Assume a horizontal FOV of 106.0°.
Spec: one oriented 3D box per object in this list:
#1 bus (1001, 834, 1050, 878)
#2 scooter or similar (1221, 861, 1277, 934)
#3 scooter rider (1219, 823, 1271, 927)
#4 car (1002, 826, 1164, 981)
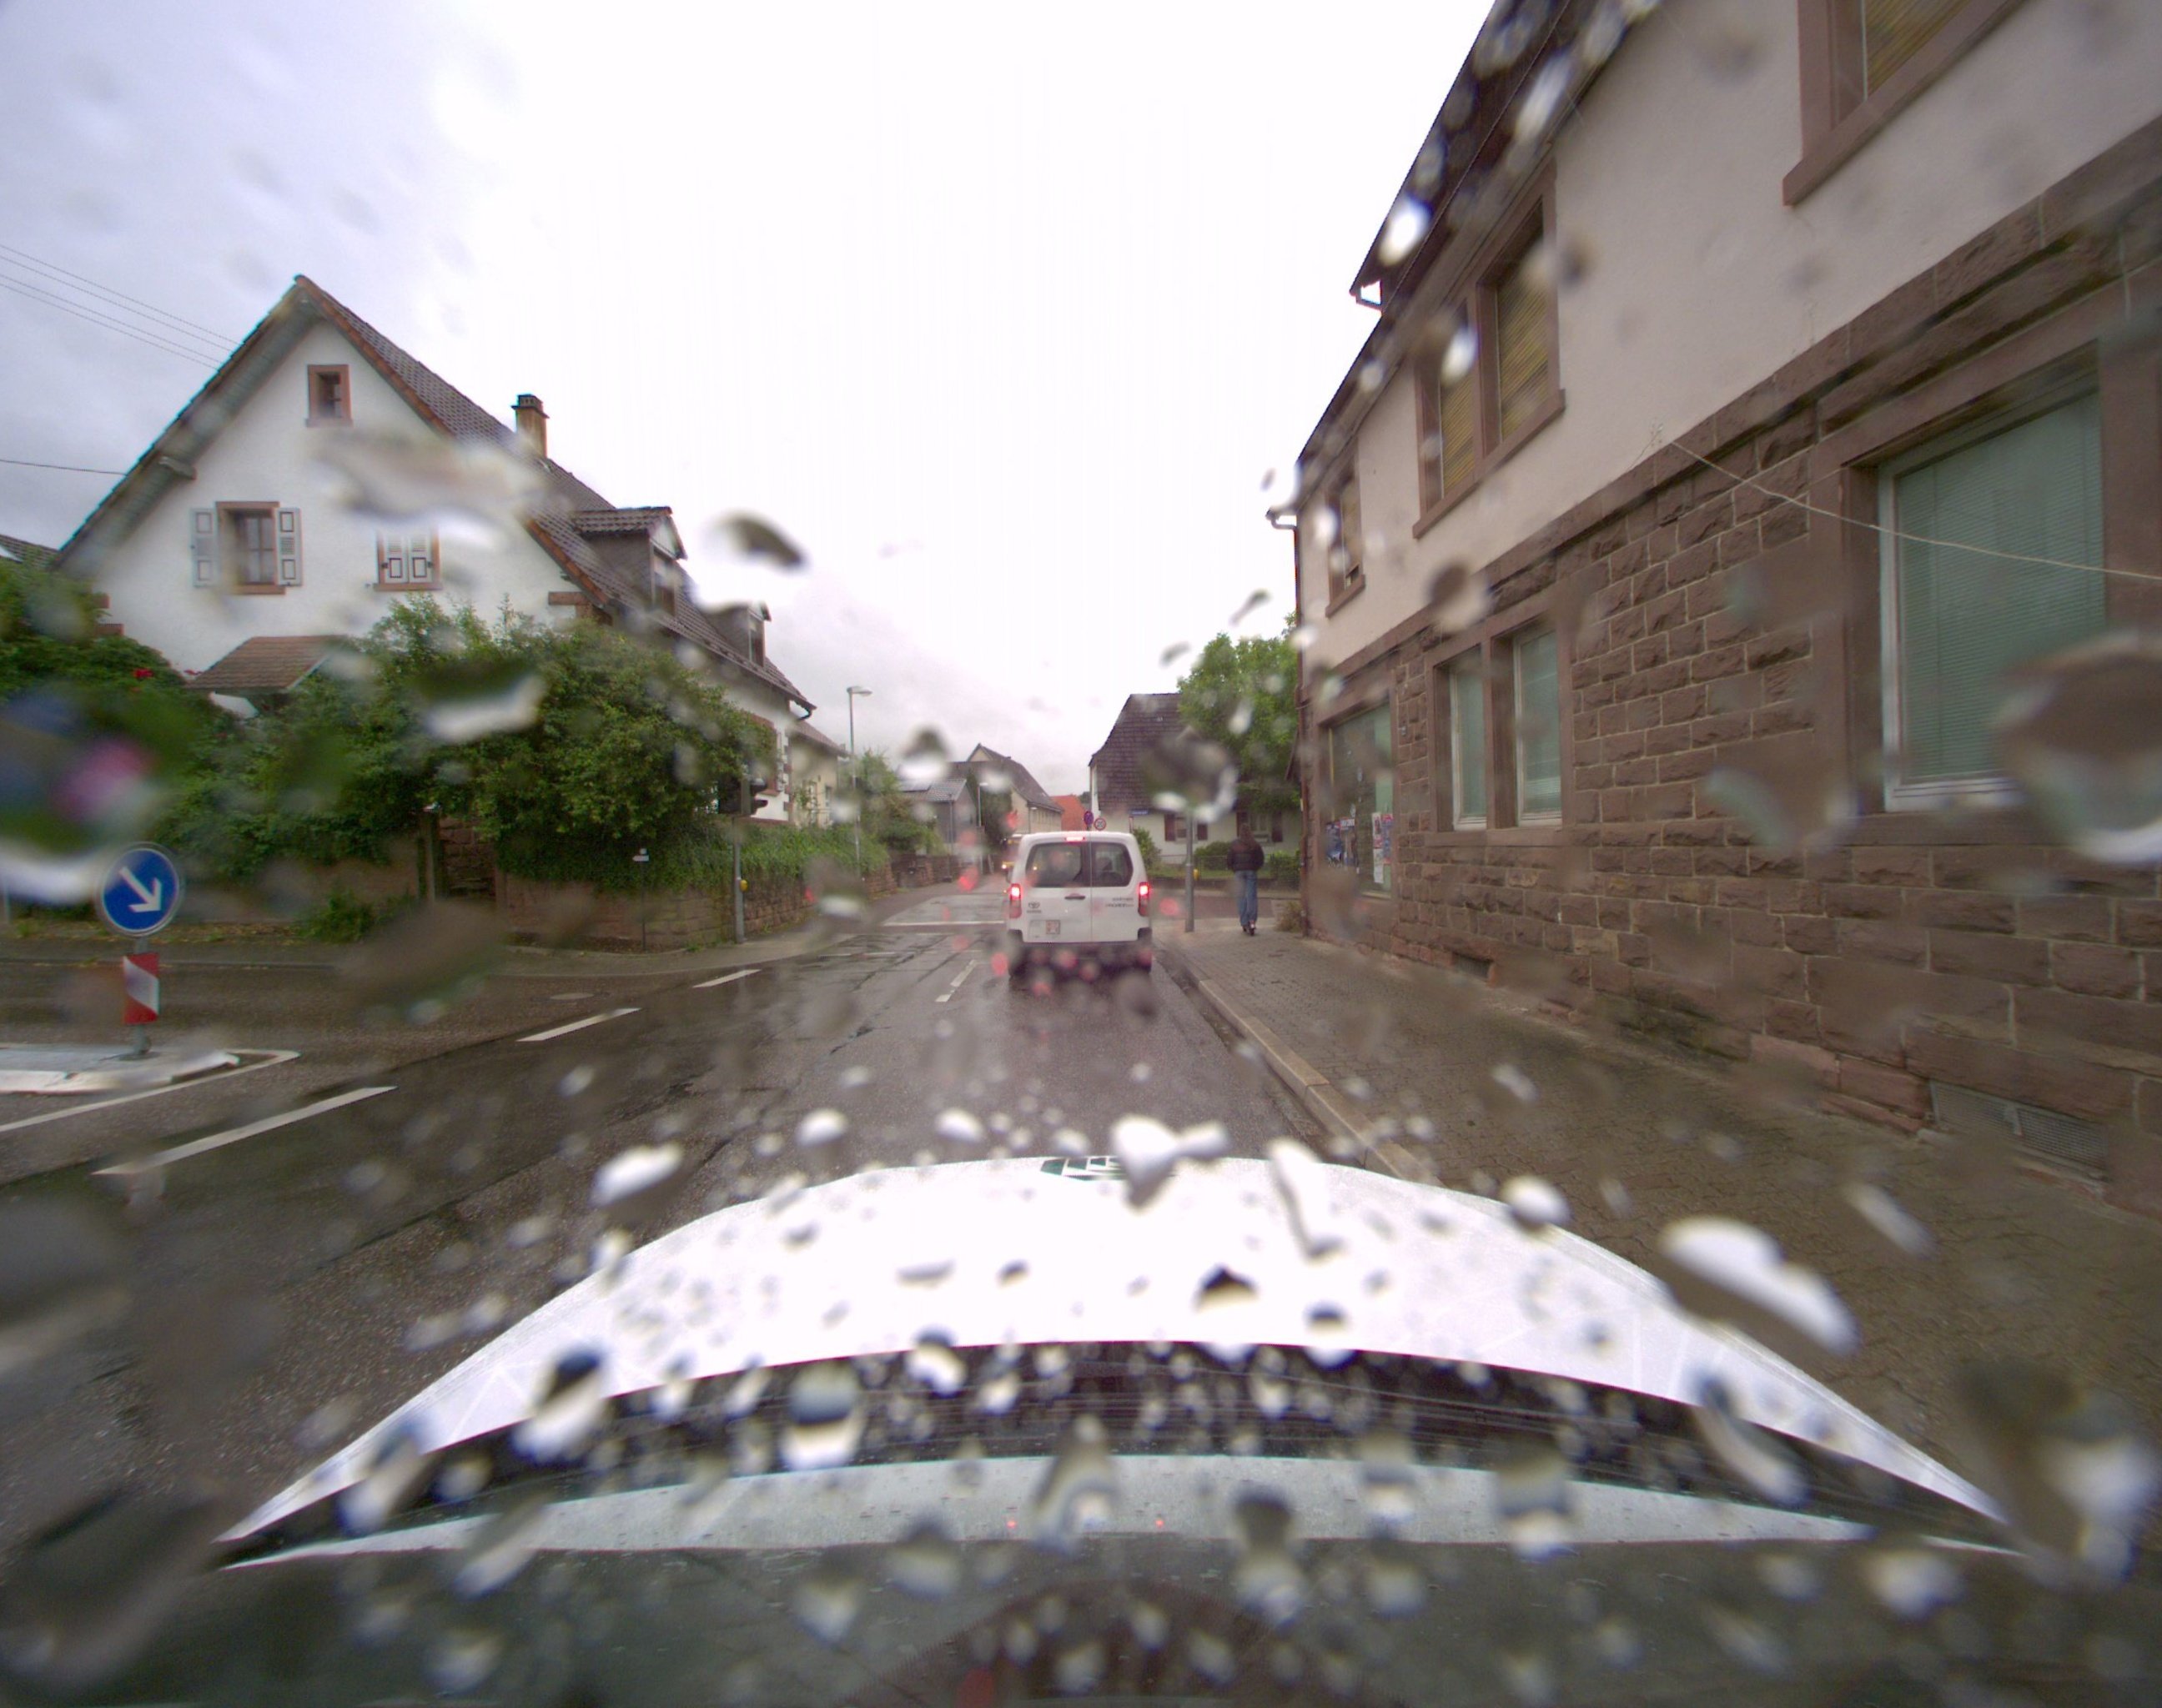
[{"bbox_3d":[-4.118,0.002,63.327,2.640,2.999,12.198,-1,2,1],"label":"bus"},{"bbox_3d":[2.821,0.710,13.804,0.618,1.127,1.401,-1,1,-1],"label":"scooter or similar"},{"bbox_3d":[2.804,0.344,13.960,0.729,1.733,0.518,-1,0,-2],"label":"scooter rider"},{"bbox_3d":[-0.006,0.565,11.419,1.889,1.794,3.811,0,0,-1],"label":"car"}]
